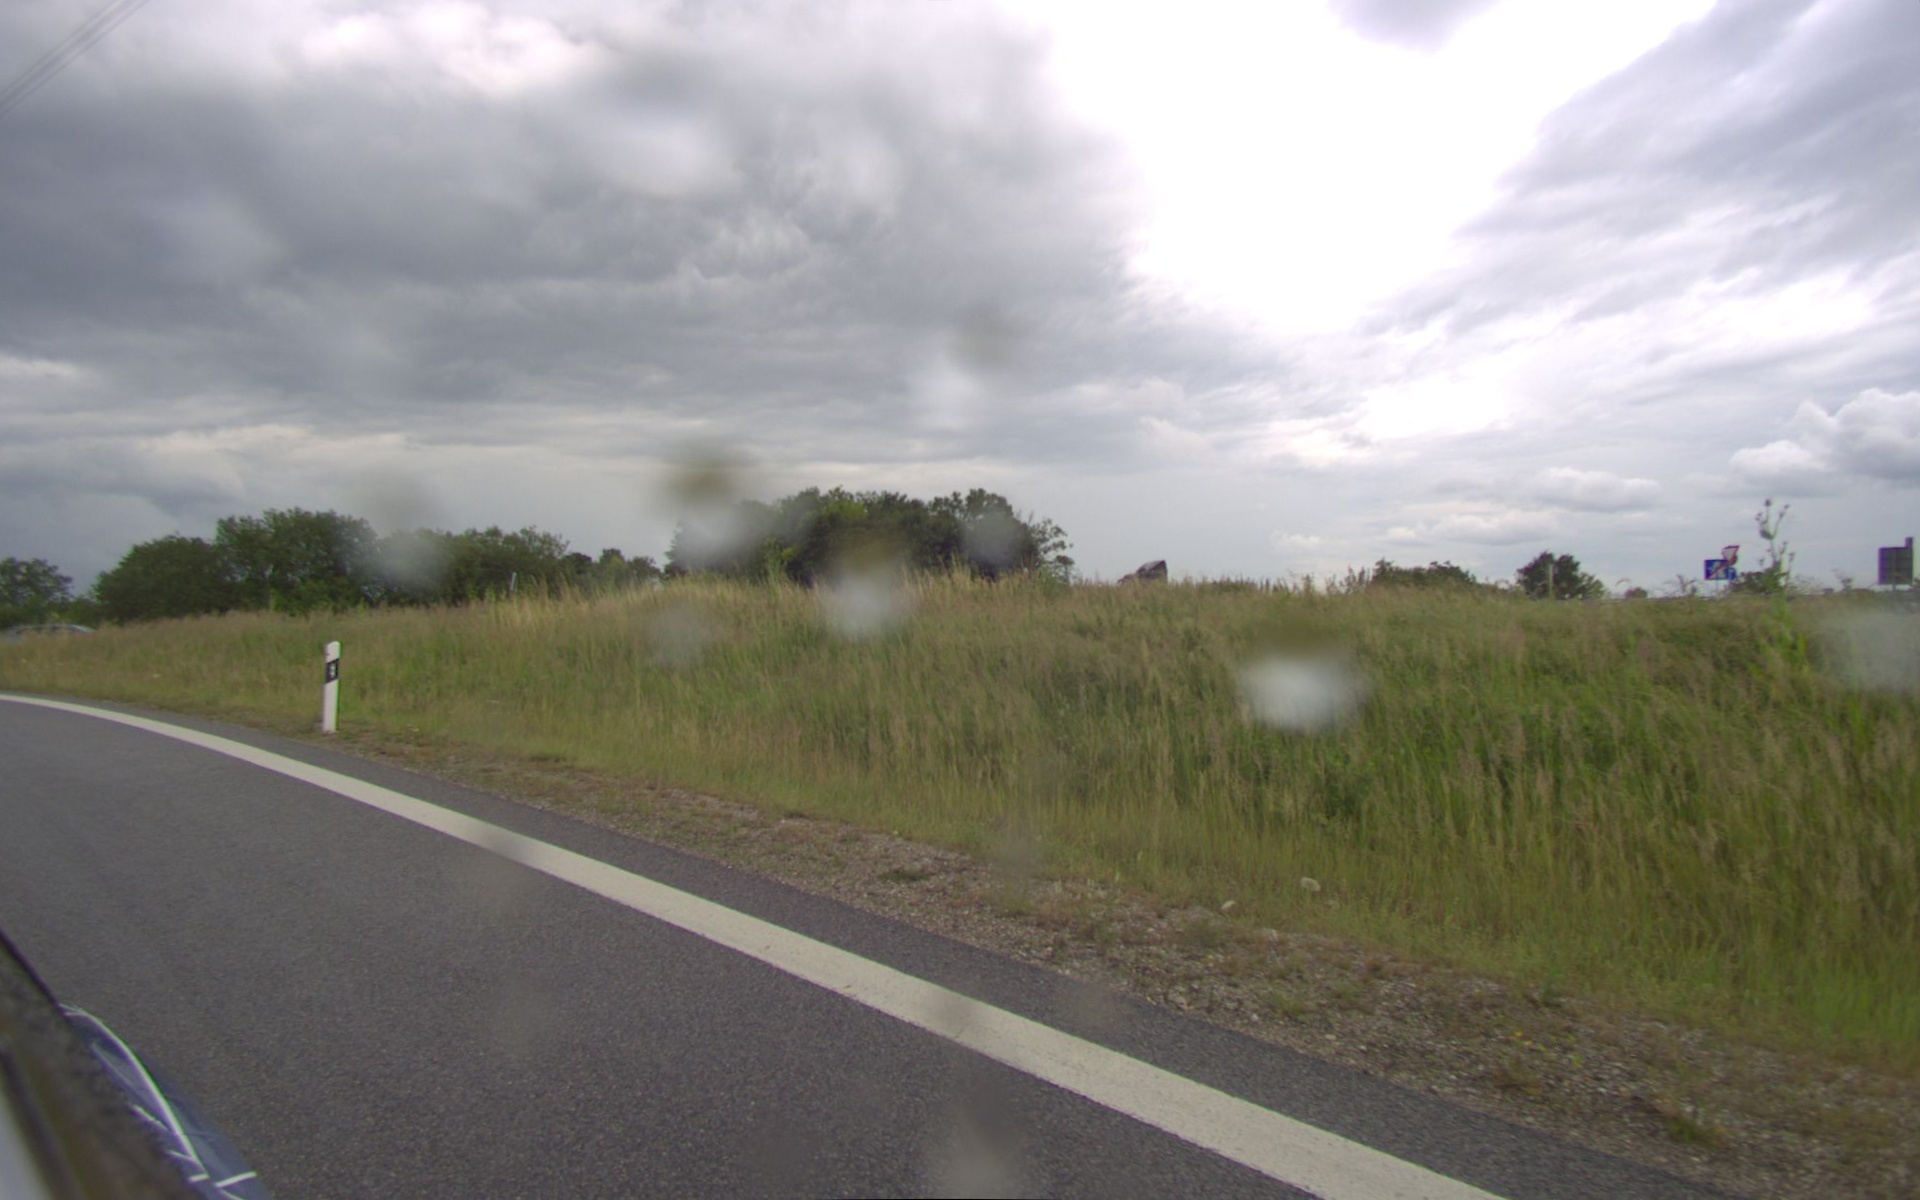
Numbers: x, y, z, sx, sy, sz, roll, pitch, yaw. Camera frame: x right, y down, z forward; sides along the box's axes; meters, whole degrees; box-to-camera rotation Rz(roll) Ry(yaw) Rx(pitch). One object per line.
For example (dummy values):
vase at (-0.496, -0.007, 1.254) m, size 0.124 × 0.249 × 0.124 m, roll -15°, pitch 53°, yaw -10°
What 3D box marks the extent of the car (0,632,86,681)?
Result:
car at (-36.876, 2.210, 39.375) m, size 3.931 × 1.766 × 2.006 m, roll -1°, pitch -1°, yaw -27°
